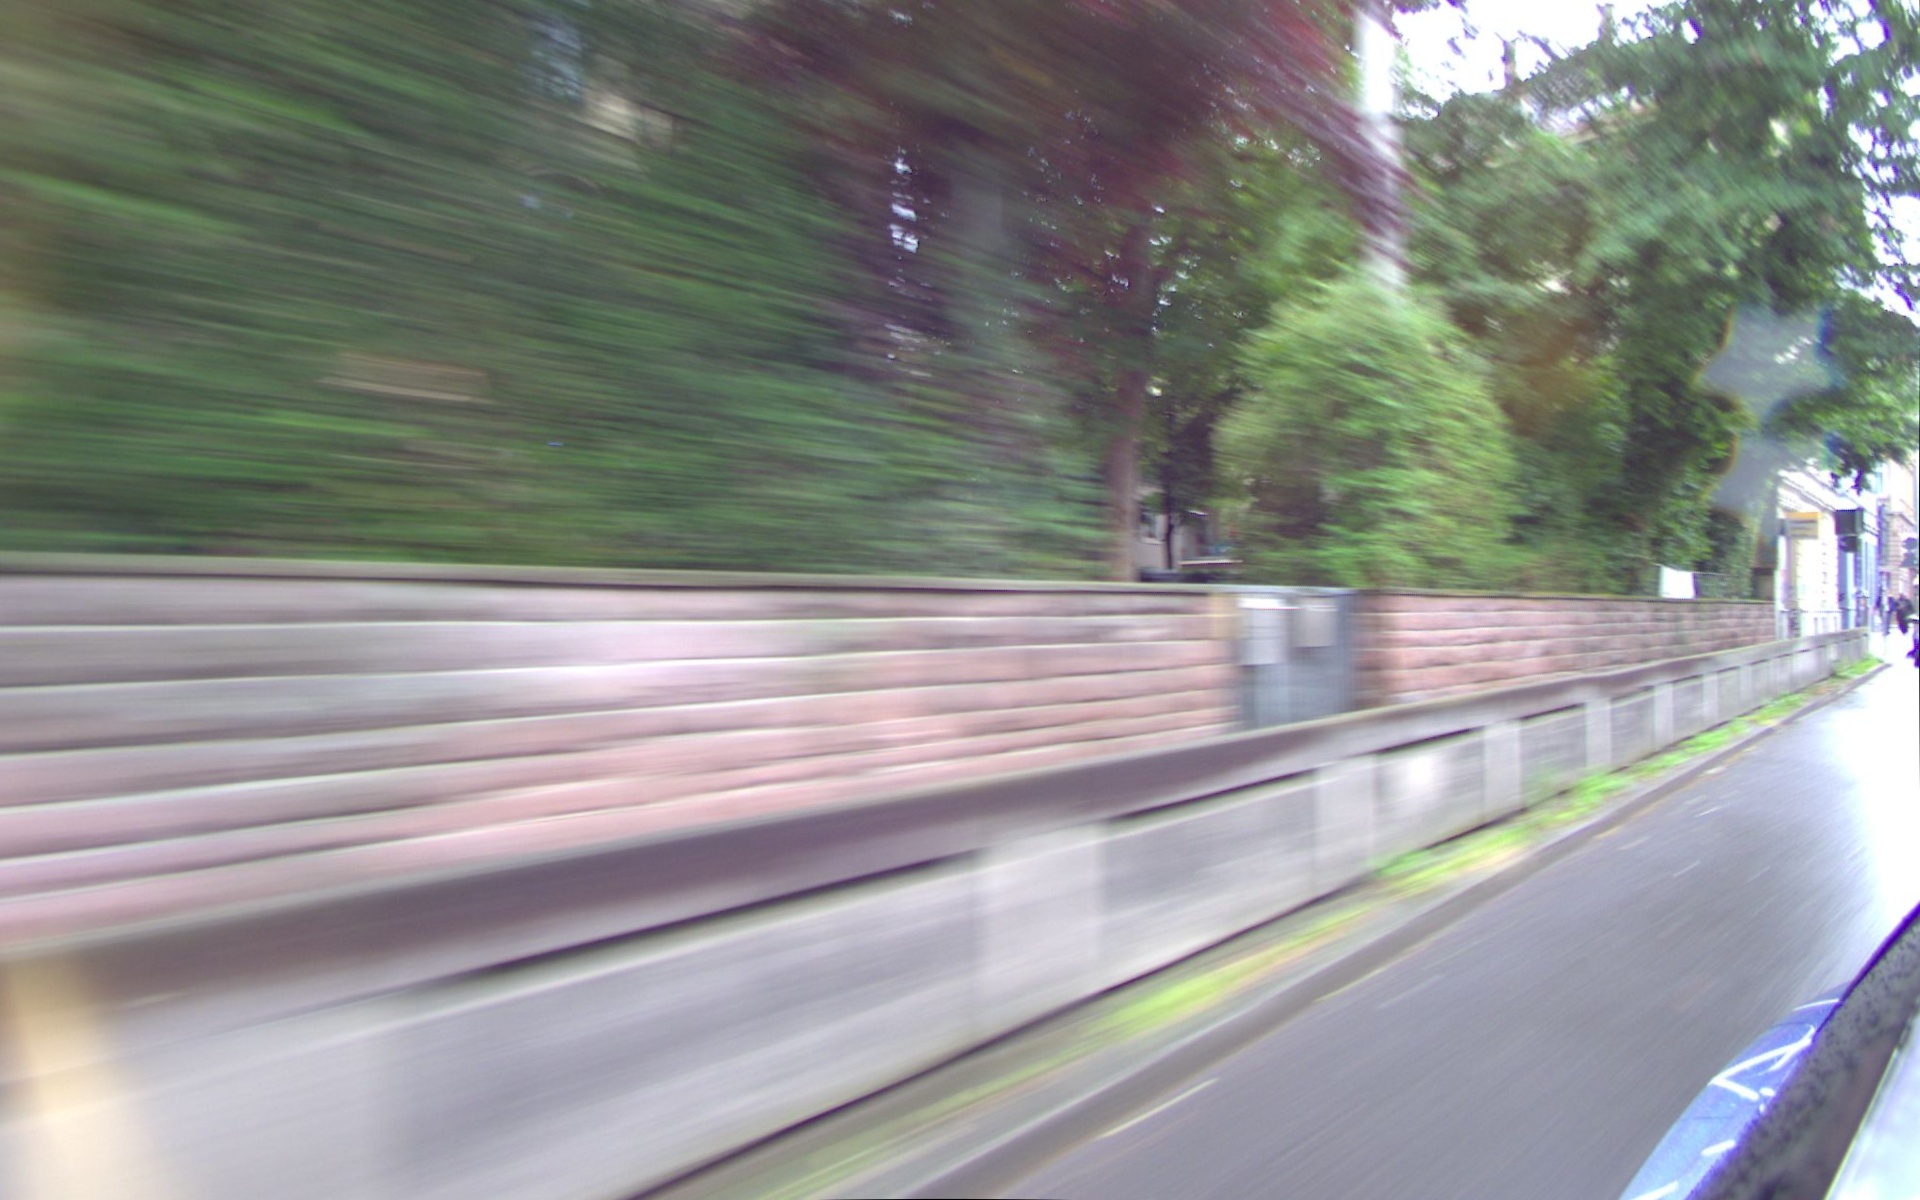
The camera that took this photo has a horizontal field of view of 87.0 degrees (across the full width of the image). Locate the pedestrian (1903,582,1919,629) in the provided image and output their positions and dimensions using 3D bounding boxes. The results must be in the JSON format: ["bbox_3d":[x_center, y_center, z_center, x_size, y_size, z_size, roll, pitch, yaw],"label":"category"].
[{"bbox_3d":[39.408,0.234,41.725,0.714,1.914,0.590,-1,-1,45],"label":"pedestrian"}]

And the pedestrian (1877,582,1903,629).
[{"bbox_3d":[38.851,0.235,42.285,0.578,1.938,0.763,1,-1,-45],"label":"pedestrian"}]

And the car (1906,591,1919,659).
[{"bbox_3d":[23.877,0.563,24.027,4.173,1.549,1.785,0,-1,-43],"label":"car"}]
